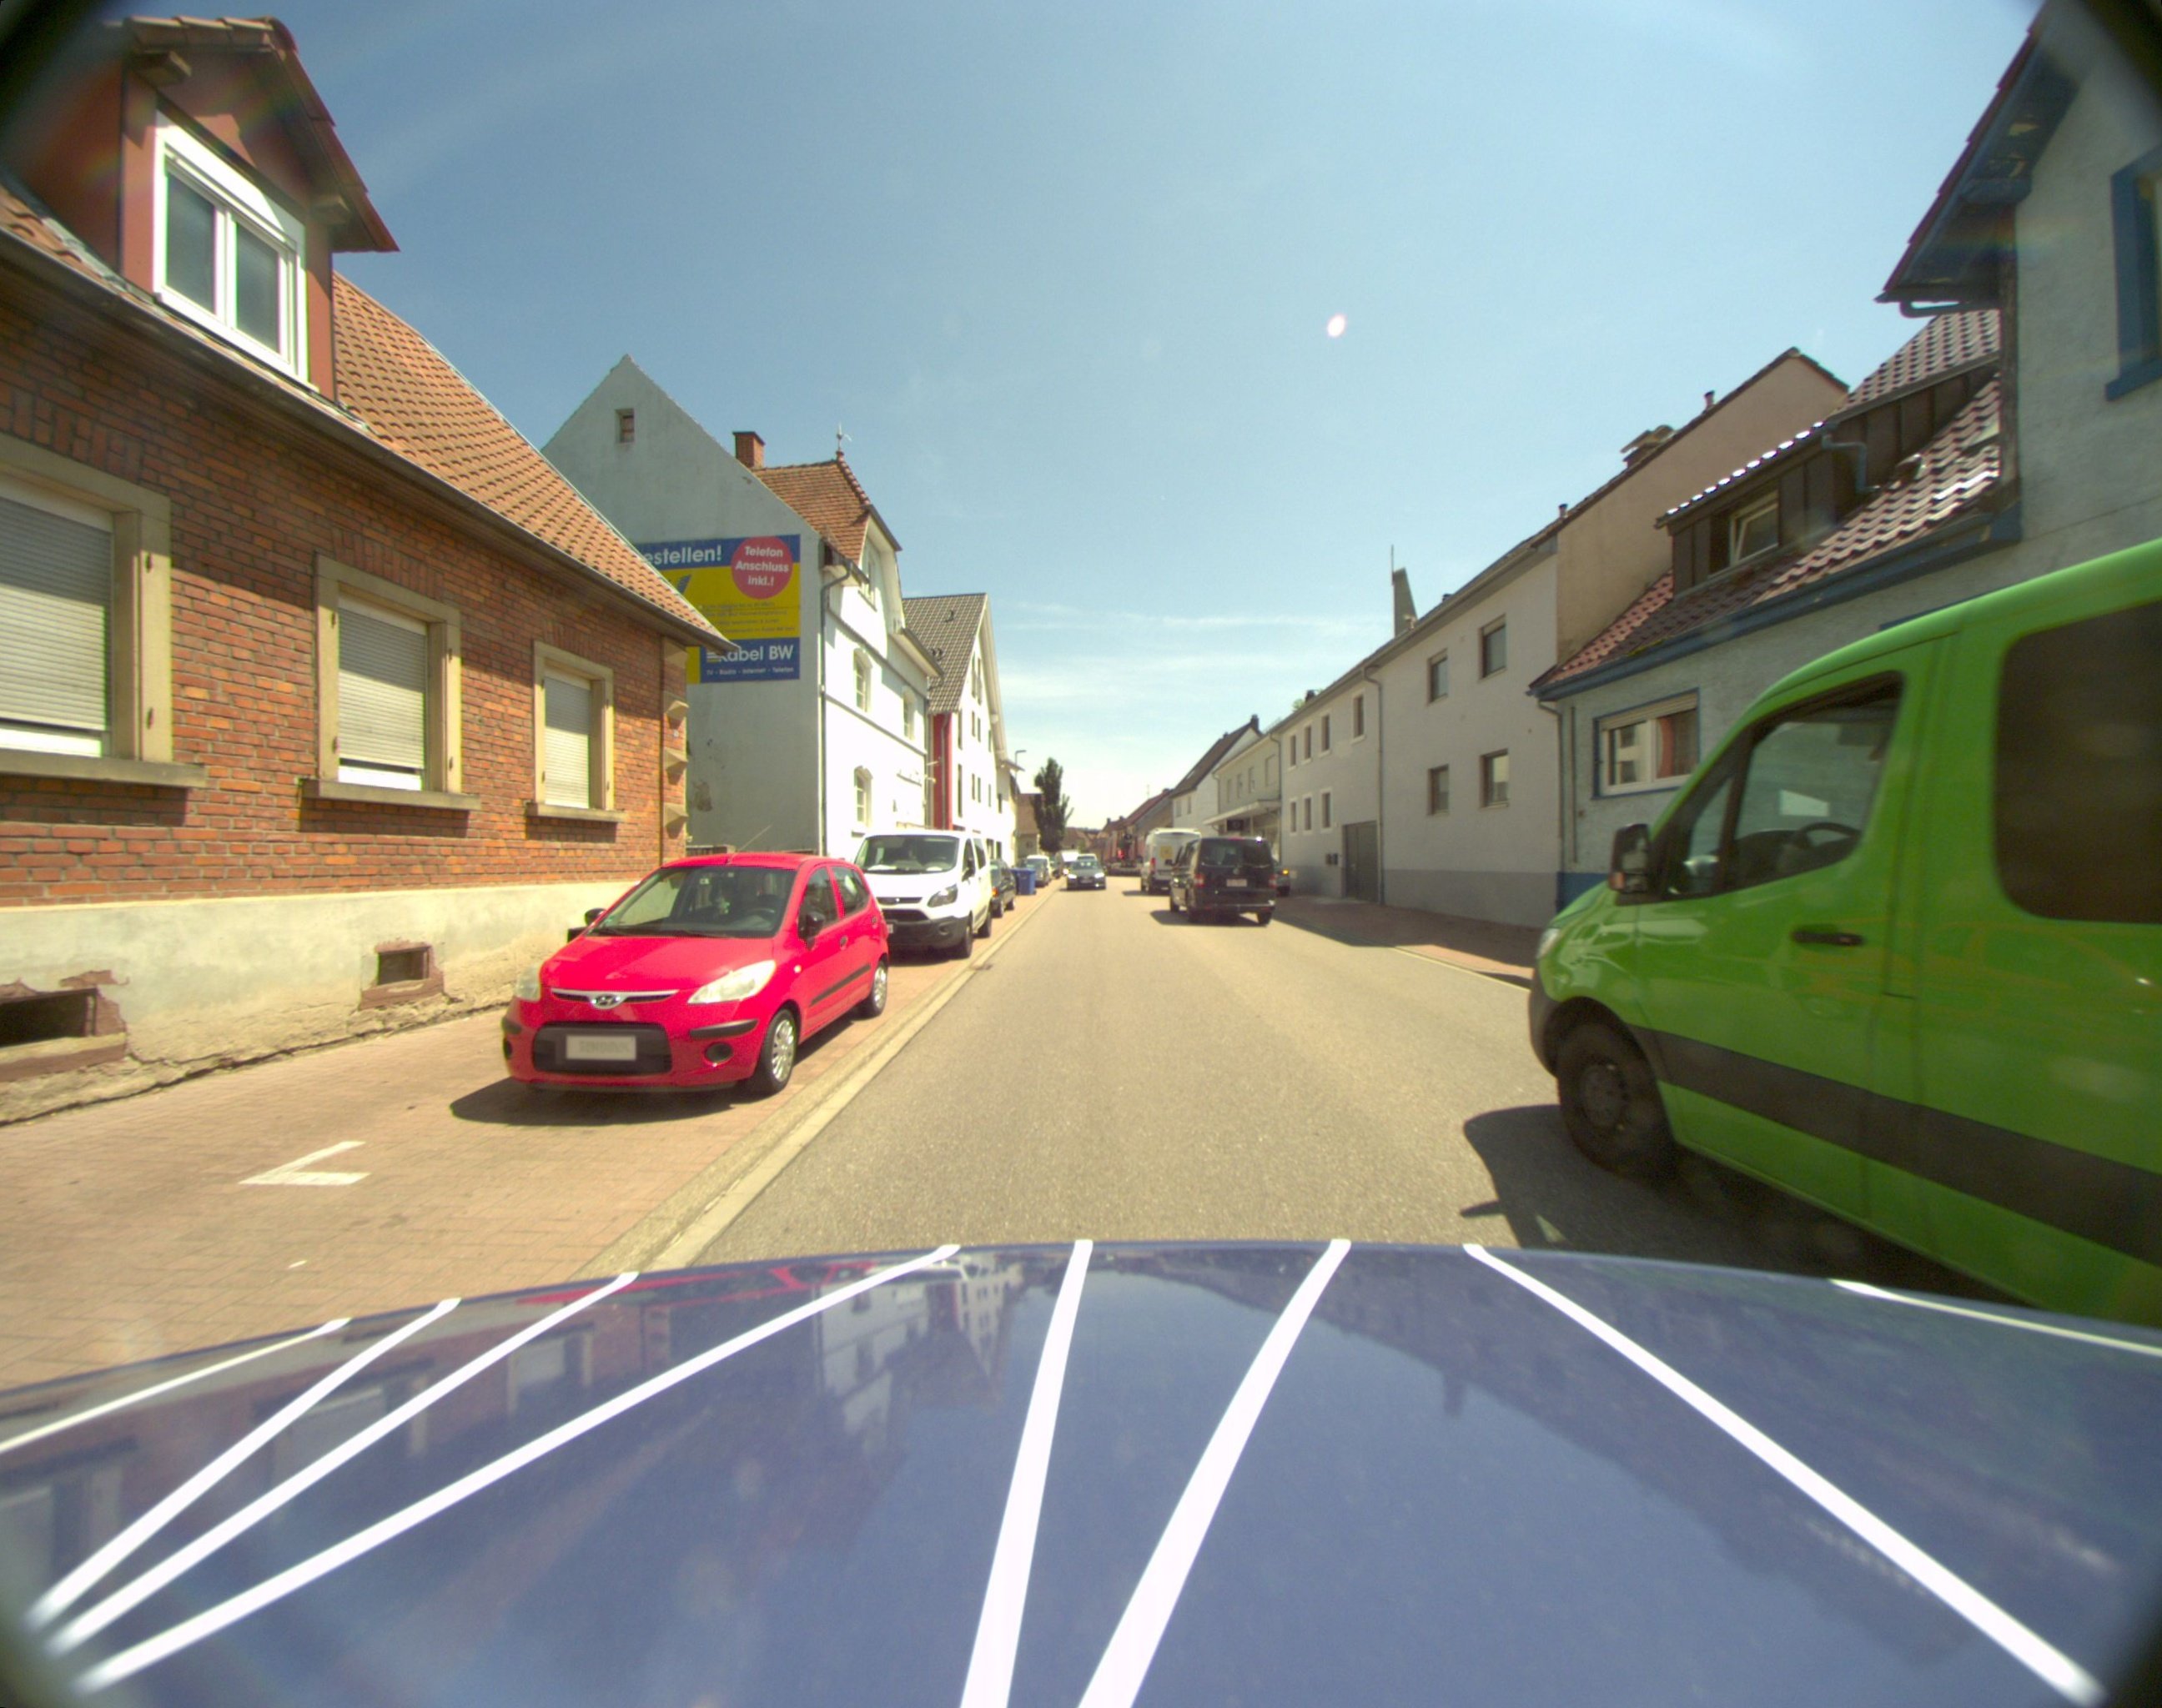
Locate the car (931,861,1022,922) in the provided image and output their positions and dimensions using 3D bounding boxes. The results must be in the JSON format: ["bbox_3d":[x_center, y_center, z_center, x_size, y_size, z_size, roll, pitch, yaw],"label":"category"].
[{"bbox_3d":[-2.696,0.928,20.615,1.774,1.457,4.577,0,0,1],"label":"car"}]

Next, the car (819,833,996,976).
[{"bbox_3d":[-2.638,0.692,12.798,1.951,1.959,4.784,0,0,-1],"label":"car"}]

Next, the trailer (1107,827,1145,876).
[{"bbox_3d":[3.974,-0.236,70.586,2.637,3.956,15.698,1,0,0],"label":"trailer"}]

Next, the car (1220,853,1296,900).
[{"bbox_3d":[6.528,0.789,28.565,1.812,1.548,4.565,-3,0,1],"label":"car"}]

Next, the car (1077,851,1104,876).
[{"bbox_3d":[0.777,0.770,63.813,2.079,1.949,5.518,-1,0,-1],"label":"car"}]

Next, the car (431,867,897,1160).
[{"bbox_3d":[-2.683,0.888,5.924,1.614,1.519,3.676,0,0,0],"label":"car"}]

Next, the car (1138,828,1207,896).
[{"bbox_3d":[3.644,0.305,31.338,2.130,2.527,5.461,0,0,-1],"label":"car"}]

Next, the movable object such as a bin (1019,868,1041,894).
[{"bbox_3d":[-2.071,1.089,30.981,0.656,1.029,0.685,1,0,17],"label":"movable object such as a bin"}]

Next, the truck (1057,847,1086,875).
[{"bbox_3d":[-1.306,0.858,97.804,2.869,3.491,8.315,0,0,-6],"label":"truck"}]

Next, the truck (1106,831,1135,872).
[{"bbox_3d":[3.996,-0.266,78.139,2.625,3.962,6.852,1,0,0],"label":"truck"}]

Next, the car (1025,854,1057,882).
[{"bbox_3d":[-2.301,0.792,44.752,1.611,1.513,3.545,2,0,0],"label":"car"}]

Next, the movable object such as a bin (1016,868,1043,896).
[{"bbox_3d":[-2.043,1.093,30.274,0.723,1.067,0.973,1,0,17],"label":"movable object such as a bin"}]

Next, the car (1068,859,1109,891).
[{"bbox_3d":[0.340,0.928,35.299,1.786,1.364,3.607,-1,0,0],"label":"car"}]

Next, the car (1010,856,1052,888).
[{"bbox_3d":[-2.471,0.871,38.667,1.704,1.438,4.836,2,0,1],"label":"car"}]

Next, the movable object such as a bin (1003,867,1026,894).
[{"bbox_3d":[-2.706,1.074,31.178,0.655,1.054,0.836,1,0,17],"label":"movable object such as a bin"}]

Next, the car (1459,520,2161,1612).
[{"bbox_3d":[3.348,0.457,1.676,2.056,2.340,6.082,0,0,1],"label":"car"}]

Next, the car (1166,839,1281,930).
[{"bbox_3d":[3.315,0.651,18.716,1.886,1.932,5.118,0,0,0],"label":"car"}]

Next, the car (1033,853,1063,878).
[{"bbox_3d":[-2.252,0.792,53.080,1.807,1.604,4.549,1,-1,0],"label":"car"}]
